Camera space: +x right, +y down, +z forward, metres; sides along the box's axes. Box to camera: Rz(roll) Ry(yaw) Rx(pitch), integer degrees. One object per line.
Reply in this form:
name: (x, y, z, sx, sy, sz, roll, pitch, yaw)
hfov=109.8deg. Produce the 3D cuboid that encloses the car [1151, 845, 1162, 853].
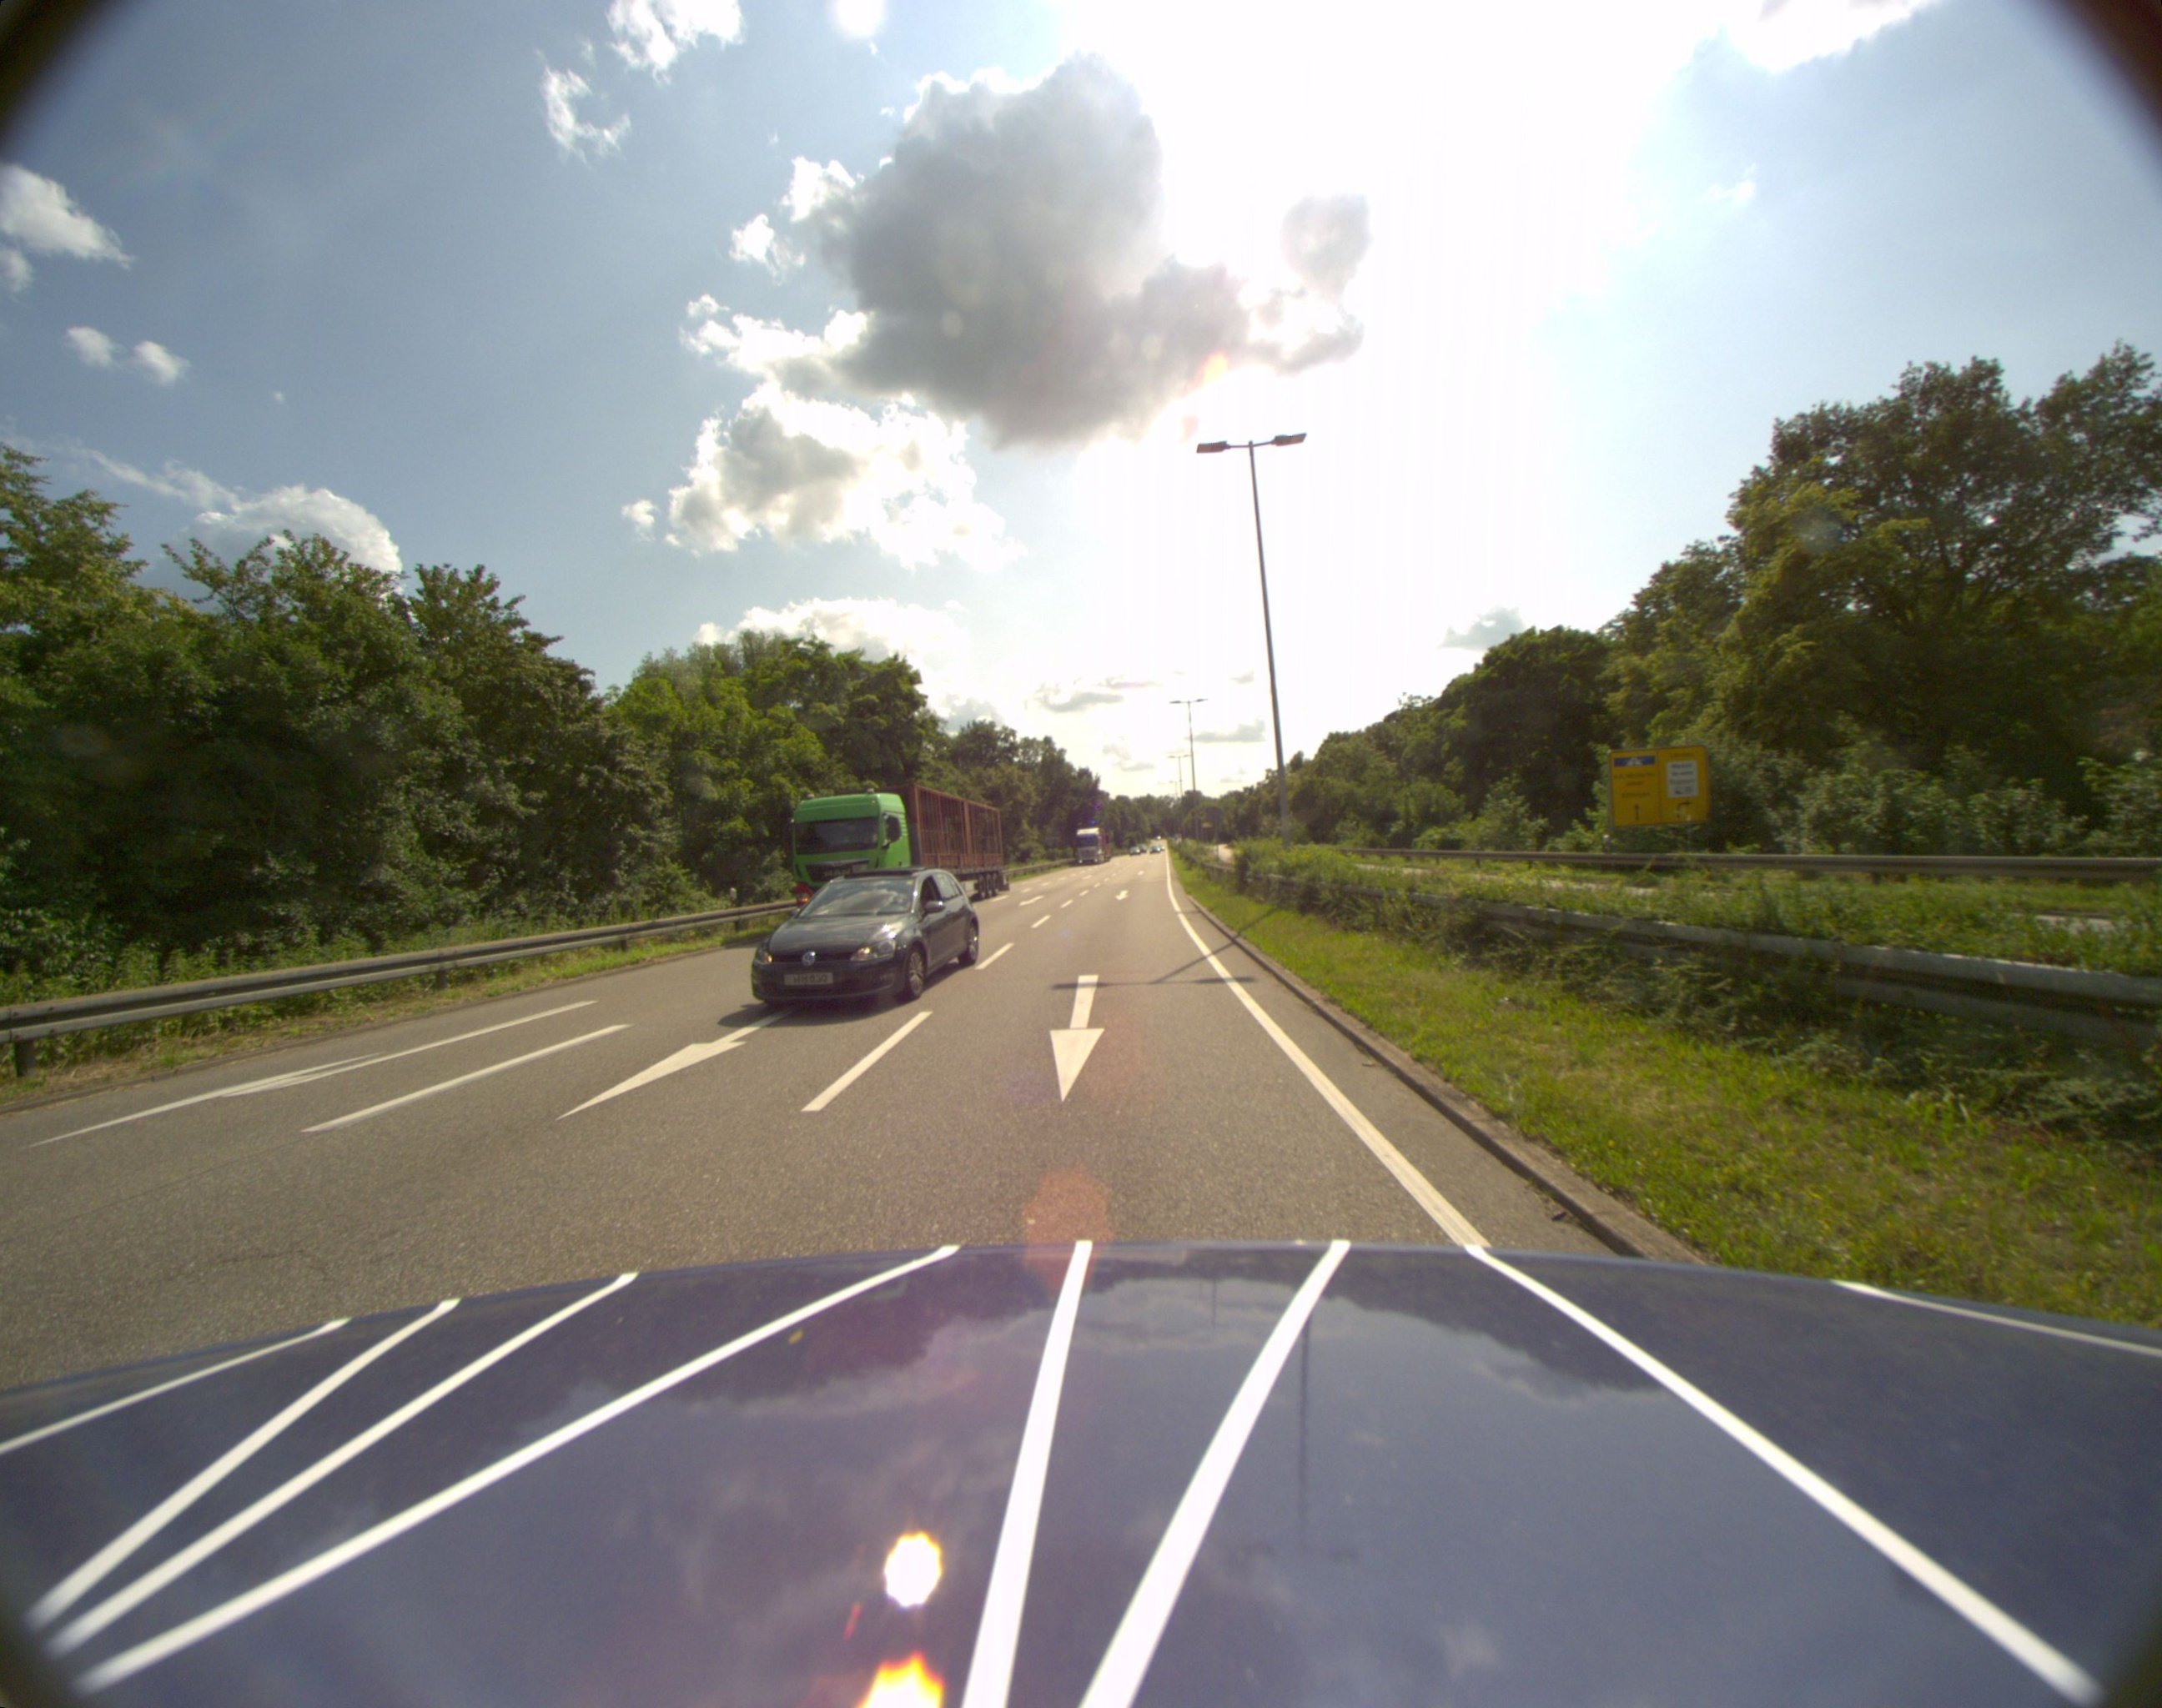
car: (13.105, -0.898, 131.334, 1.796, 1.368, 4.002, -3, 0, 7)

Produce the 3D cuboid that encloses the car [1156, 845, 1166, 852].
car: (16.639, -1.210, 157.575, 1.796, 1.368, 4.002, -3, 0, 7)

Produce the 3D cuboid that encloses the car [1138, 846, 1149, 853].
car: (12.166, -0.893, 147.007, 1.998, 1.330, 4.001, -3, 0, 5)

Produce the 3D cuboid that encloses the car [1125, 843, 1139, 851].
car: (8.609, -1.198, 128.204, 1.997, 1.330, 4.002, -3, 0, 8)

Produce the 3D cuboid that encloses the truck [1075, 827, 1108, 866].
truck: (1.244, -0.818, 84.564, 2.690, 3.948, 7.386, -5, 0, 6)

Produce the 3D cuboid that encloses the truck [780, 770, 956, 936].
truck: (-5.729, -0.034, 21.651, 2.590, 3.871, 6.063, -5, 0, 5)

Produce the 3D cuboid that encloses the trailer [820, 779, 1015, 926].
trailer: (-5.158, -0.073, 28.272, 2.590, 3.871, 14.506, -5, 0, 5)

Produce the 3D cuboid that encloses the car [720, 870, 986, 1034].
car: (-2.561, 1.039, 9.661, 1.735, 1.468, 4.048, -3, 0, 6)

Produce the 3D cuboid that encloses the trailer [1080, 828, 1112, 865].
trailer: (1.973, -0.861, 92.077, 2.694, 3.948, 12.396, -5, 0, 6)
